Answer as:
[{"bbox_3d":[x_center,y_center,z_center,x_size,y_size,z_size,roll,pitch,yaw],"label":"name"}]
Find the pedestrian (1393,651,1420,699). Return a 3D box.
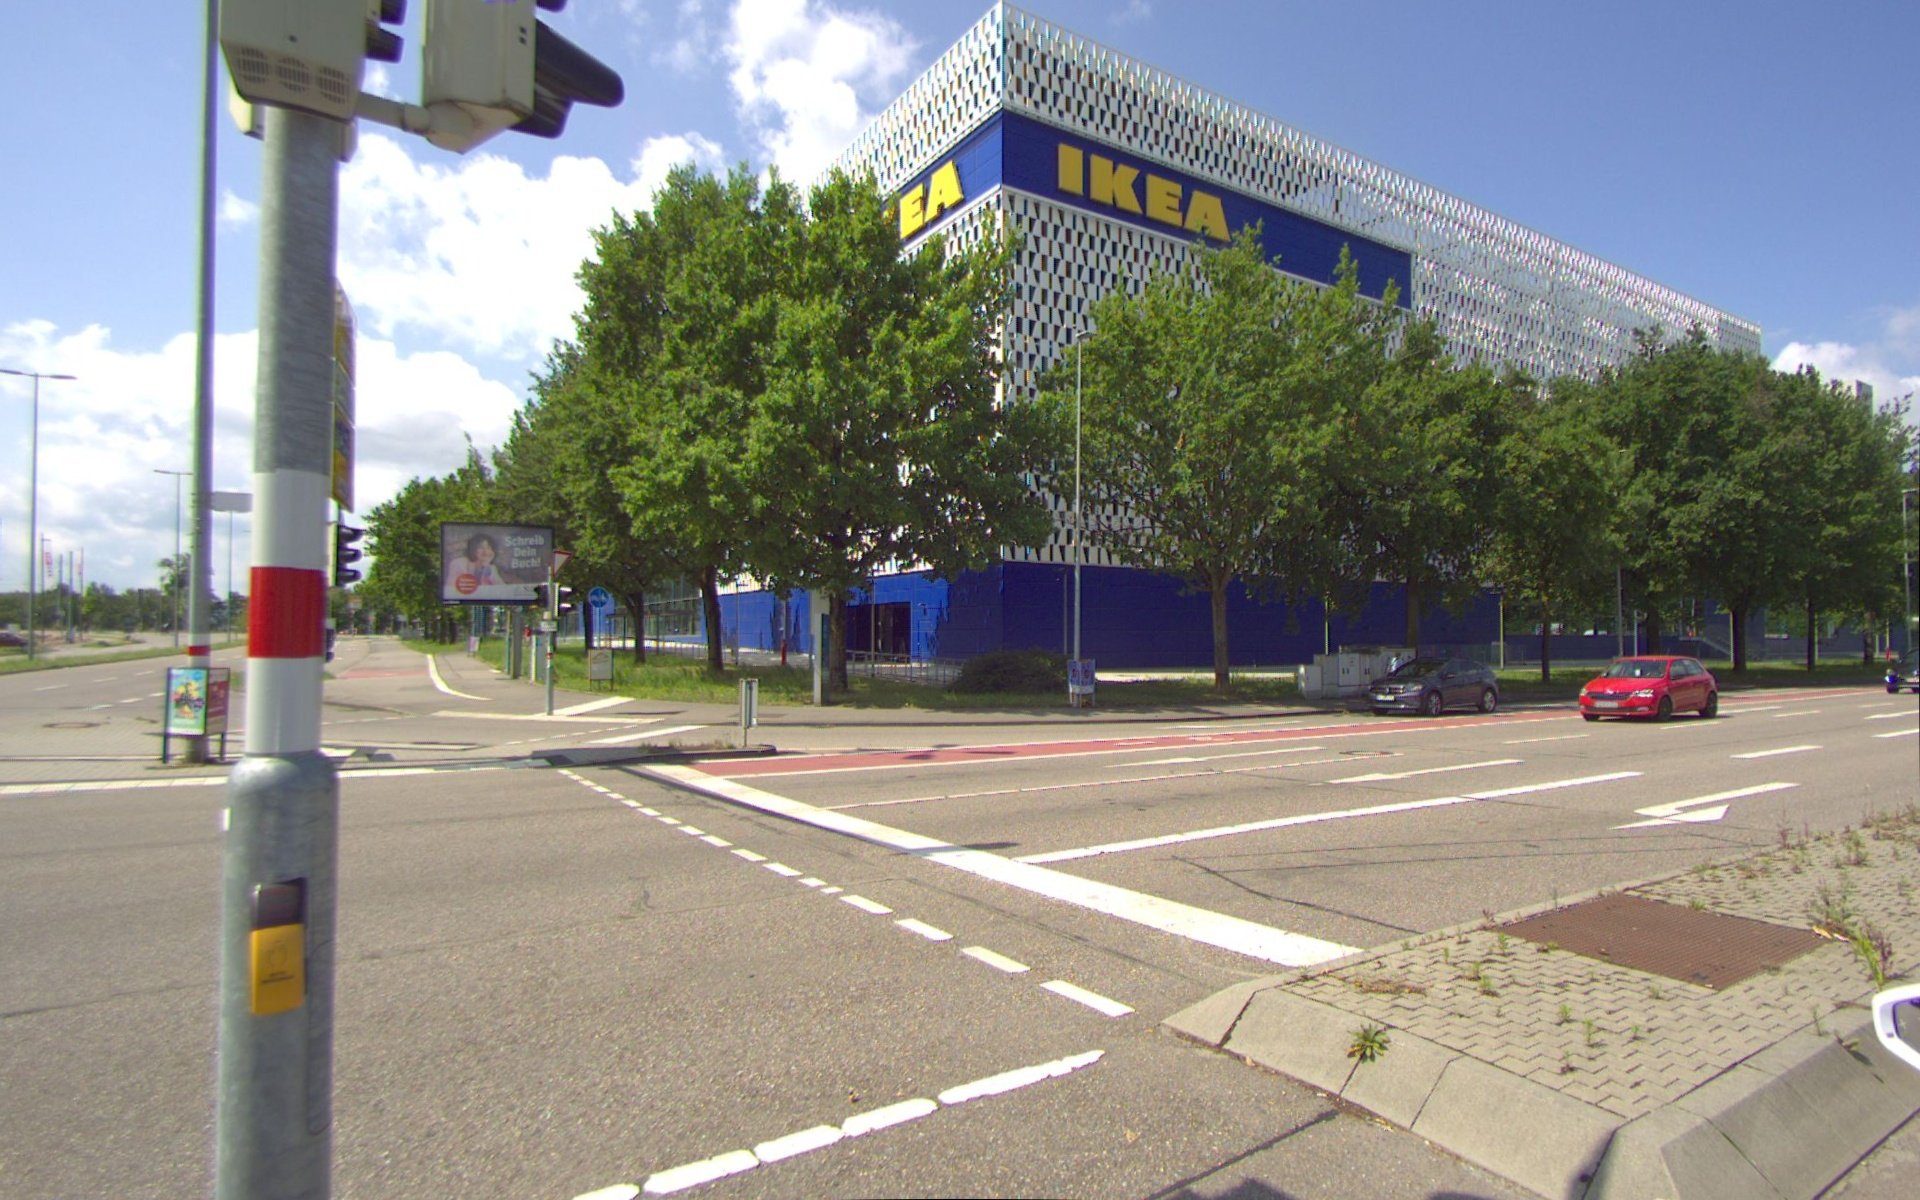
[{"bbox_3d":[15.133,2.532,34.072,0.752,1.575,0.500,1,-2,-33],"label":"pedestrian"}]

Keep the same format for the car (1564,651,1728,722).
[{"bbox_3d":[16.008,1.972,23.406,4.081,1.502,1.677,1,-4,-33],"label":"car"}]

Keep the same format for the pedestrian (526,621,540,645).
[{"bbox_3d":[-31.759,2.467,74.722,0.843,1.751,1.157,-1,0,-26],"label":"pedestrian"}]

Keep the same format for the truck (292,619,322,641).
[{"bbox_3d":[-84.953,3.867,130.688,2.940,2.788,5.737,-1,0,-30],"label":"truck"}]

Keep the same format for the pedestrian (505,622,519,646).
[{"bbox_3d":[-33.165,2.512,74.339,0.843,1.751,1.157,-1,0,-26],"label":"pedestrian"}]

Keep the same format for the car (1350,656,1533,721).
[{"bbox_3d":[12.879,2.305,26.875,4.520,1.575,1.887,1,-2,-22],"label":"car"}]

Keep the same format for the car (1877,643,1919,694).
[{"bbox_3d":[35.171,2.432,36.273,4.771,1.778,1.917,2,-5,-34],"label":"car"}]
